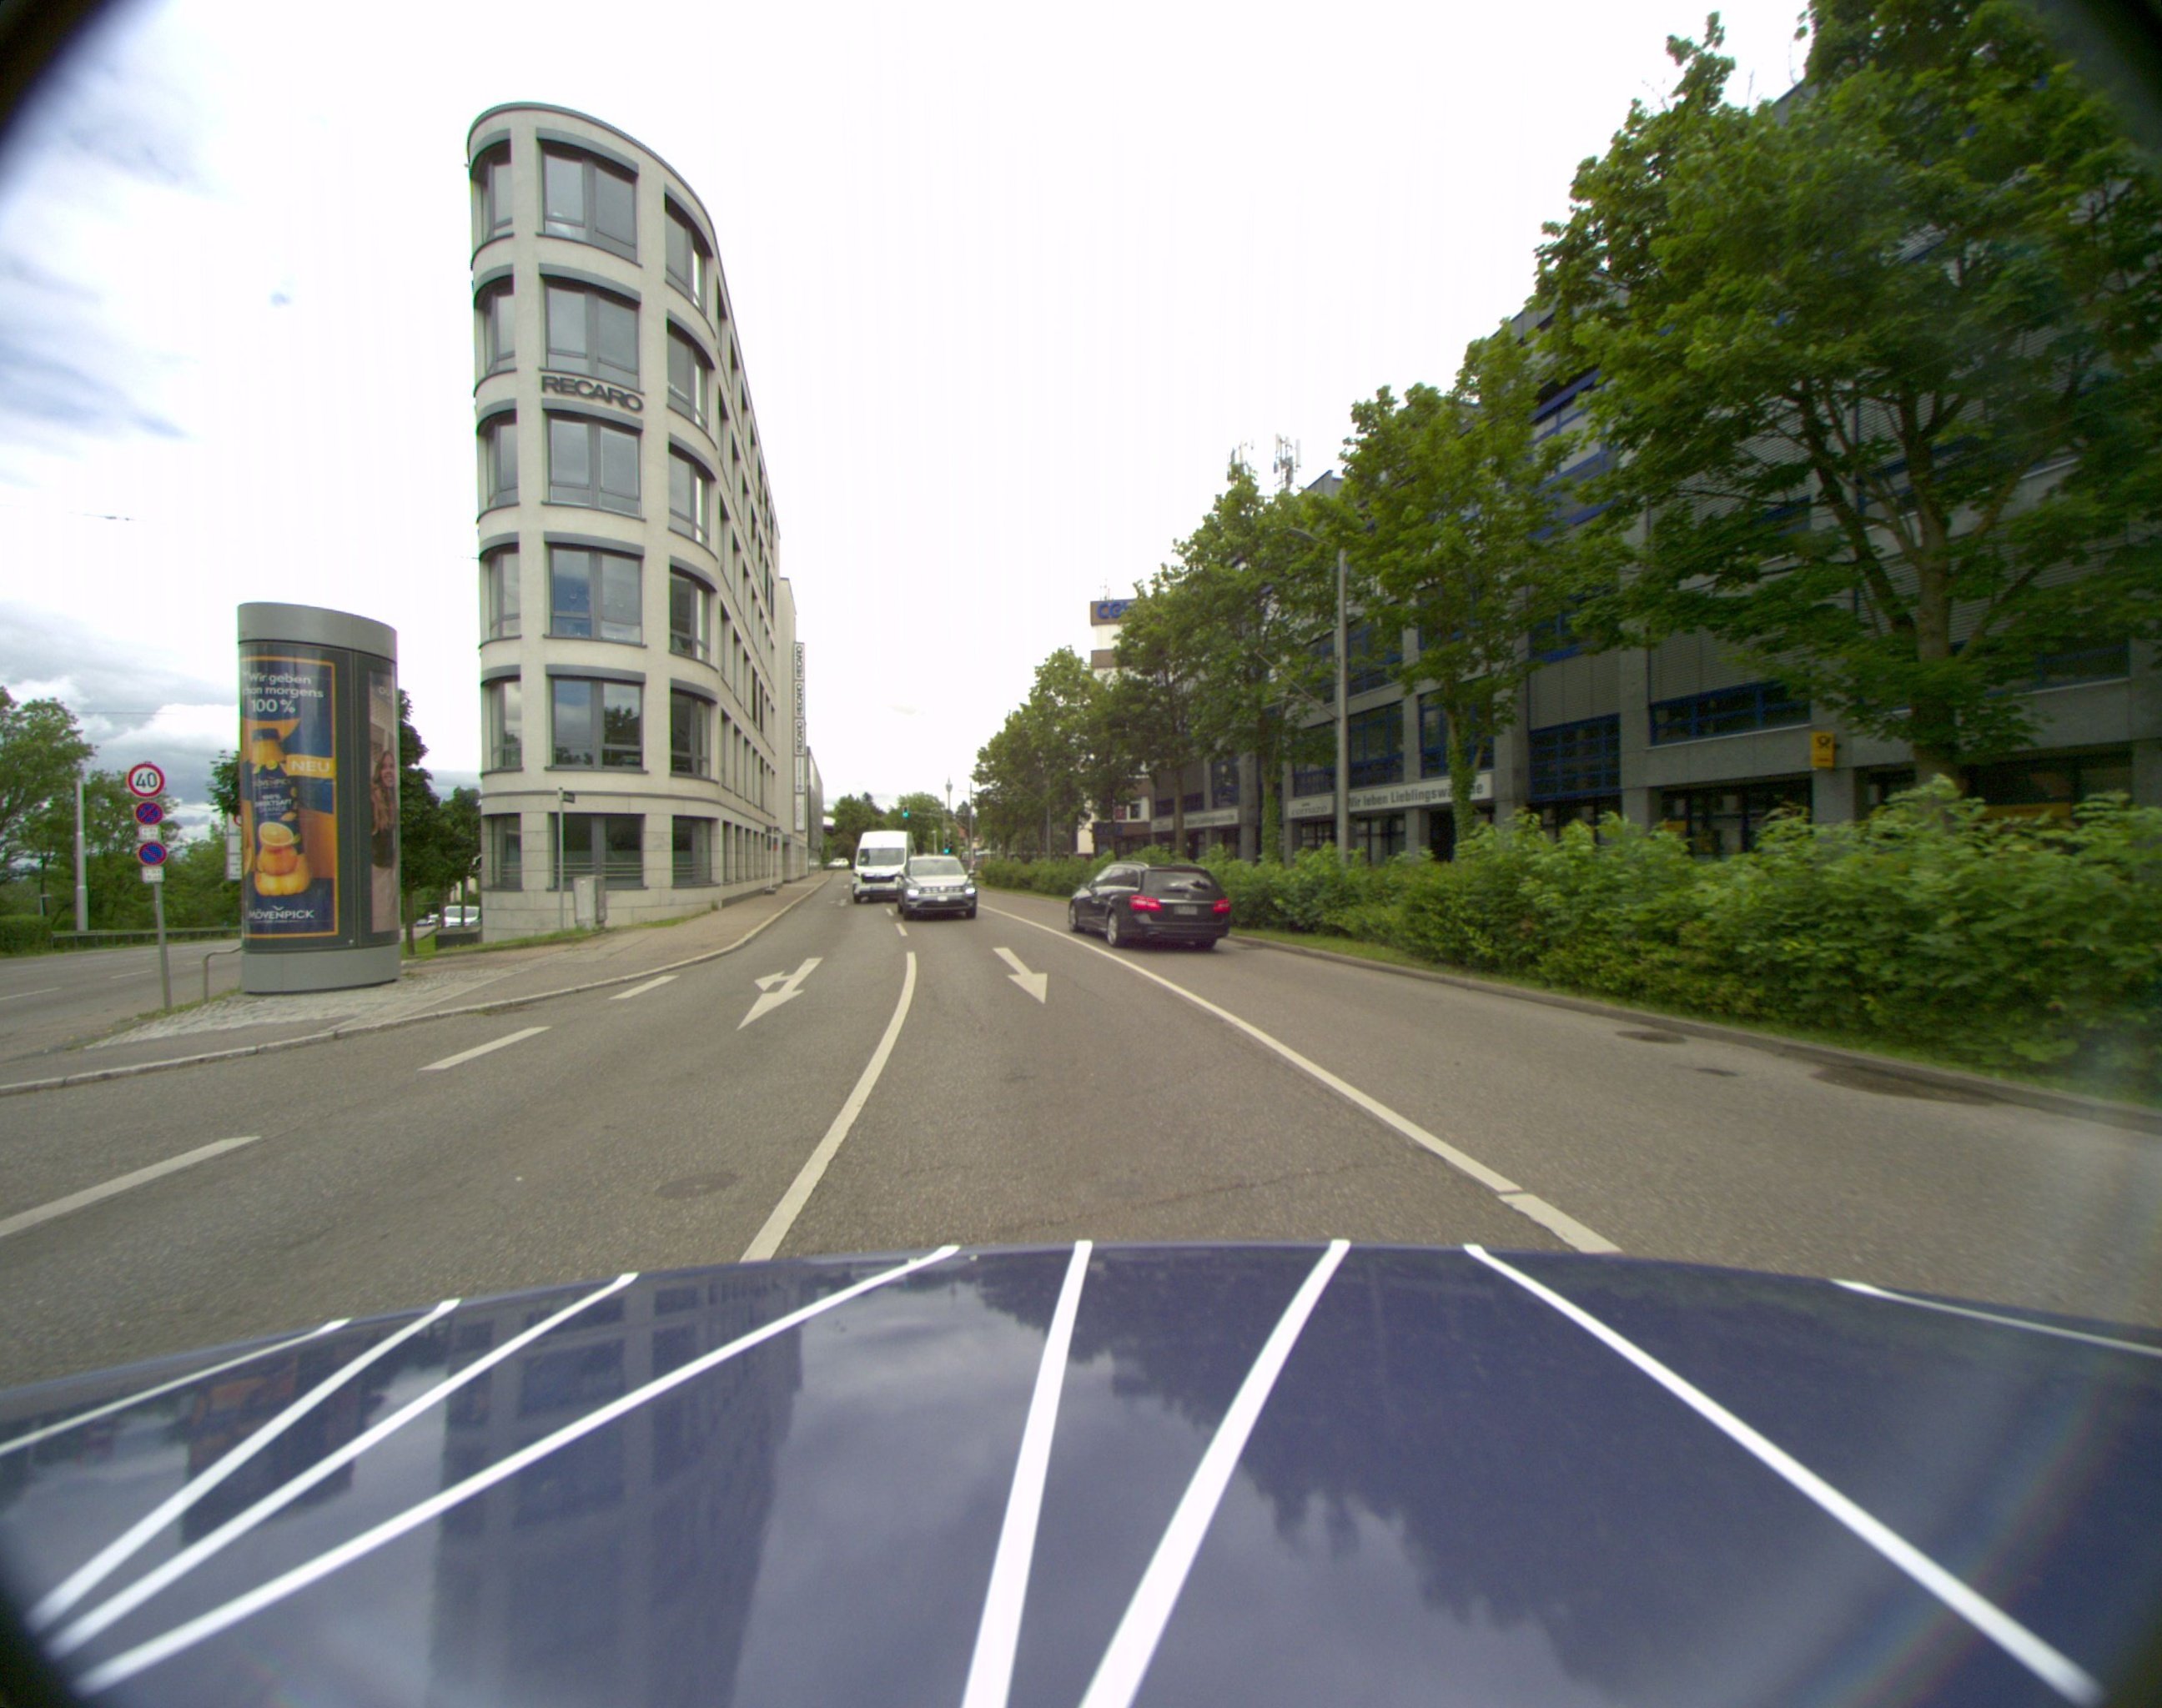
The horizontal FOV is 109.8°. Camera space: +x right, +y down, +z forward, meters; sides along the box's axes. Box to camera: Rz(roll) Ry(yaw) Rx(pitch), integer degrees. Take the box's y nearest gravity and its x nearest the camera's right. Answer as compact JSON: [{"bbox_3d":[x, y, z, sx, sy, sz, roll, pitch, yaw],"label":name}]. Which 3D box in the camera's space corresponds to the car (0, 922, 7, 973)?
[{"bbox_3d":[-33.318,2.906,21.643,1.740,1.559,4.316,-5,1,-36],"label":"car"}]

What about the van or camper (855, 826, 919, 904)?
[{"bbox_3d":[-7.736,0.392,29.936,2.113,2.674,6.290,-2,0,-16],"label":"van or camper"}]

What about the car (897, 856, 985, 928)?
[{"bbox_3d":[-3.865,0.921,20.377,1.836,1.636,4.320,-2,0,-16],"label":"car"}]

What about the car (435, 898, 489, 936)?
[{"bbox_3d":[-39.597,3.978,48.709,2.181,2.002,3.990,-2,1,-33],"label":"car"}]

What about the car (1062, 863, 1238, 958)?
[{"bbox_3d":[1.061,0.909,14.328,1.852,1.428,4.699,0,0,-14],"label":"car"}]
